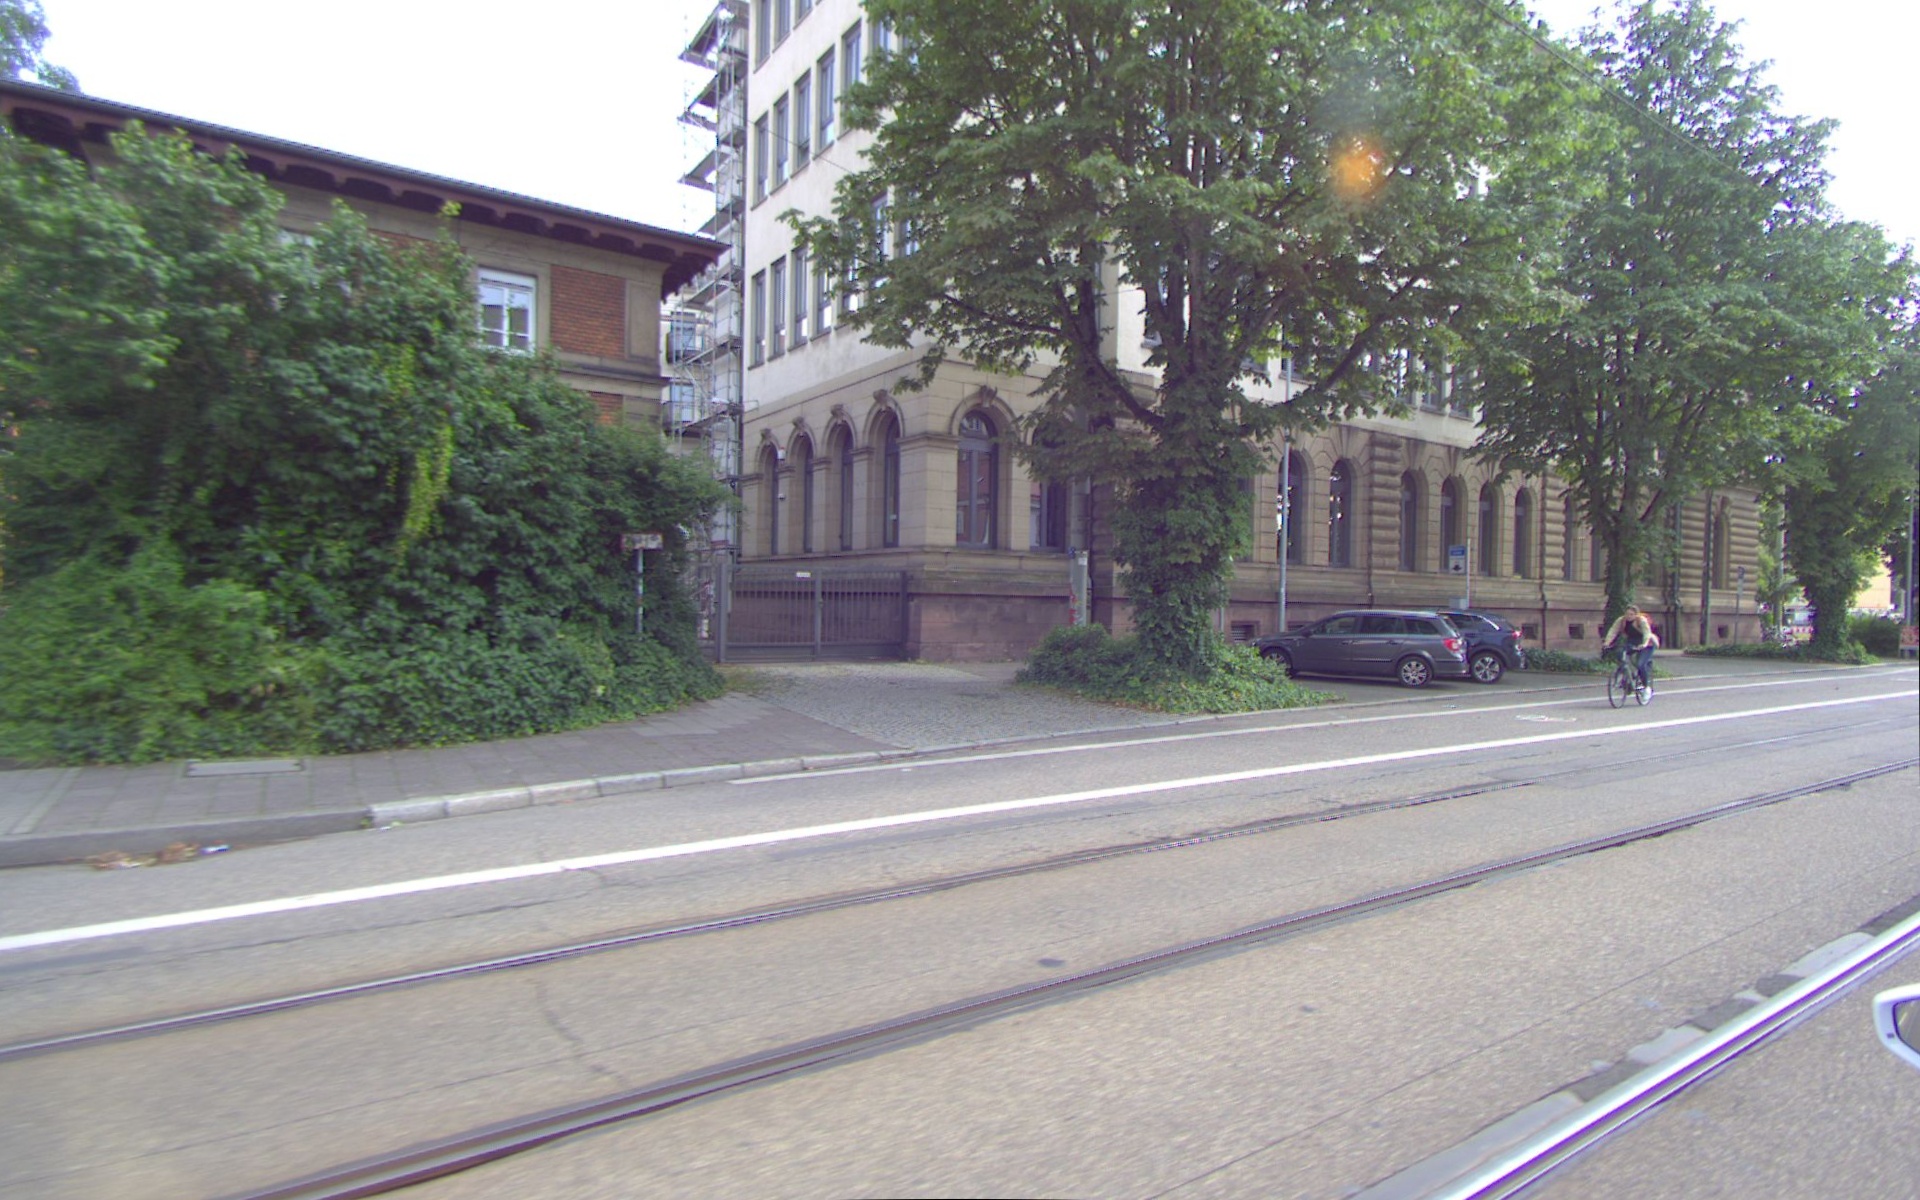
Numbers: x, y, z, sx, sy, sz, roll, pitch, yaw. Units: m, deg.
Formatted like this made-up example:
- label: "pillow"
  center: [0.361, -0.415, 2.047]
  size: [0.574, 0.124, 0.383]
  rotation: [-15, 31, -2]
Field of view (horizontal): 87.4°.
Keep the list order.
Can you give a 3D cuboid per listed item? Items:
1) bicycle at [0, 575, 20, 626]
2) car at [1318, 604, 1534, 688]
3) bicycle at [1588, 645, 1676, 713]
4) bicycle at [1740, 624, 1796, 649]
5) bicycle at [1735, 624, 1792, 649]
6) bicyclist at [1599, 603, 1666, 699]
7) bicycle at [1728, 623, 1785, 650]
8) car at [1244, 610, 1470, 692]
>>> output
- label: "bicycle"
  center: [-29.536, -0.003, 30.817]
  size: [0.750, 1.506, 2.472]
  rotation: [1, 0, -37]
- label: "car"
  center: [10.344, 0.949, 22.528]
  size: [4.161, 1.571, 1.925]
  rotation: [2, 1, 25]
- label: "bicycle"
  center: [11.158, 1.283, 16.662]
  size: [1.803, 1.031, 0.693]
  rotation: [1, -1, -38]
- label: "bicycle"
  center: [41.703, 1.871, 51.841]
  size: [0.723, 1.184, 2.099]
  rotation: [1, 1, -35]
- label: "bicycle"
  center: [41.010, 1.852, 51.282]
  size: [0.723, 1.184, 2.099]
  rotation: [1, 1, -35]
- label: "bicyclist"
  center: [11.141, 0.823, 16.648]
  size: [0.860, 1.539, 0.686]
  rotation: [1, -1, -38]
- label: "bicycle"
  center: [40.078, 1.826, 50.542]
  size: [0.723, 1.184, 2.099]
  rotation: [1, 1, -35]
- label: "car"
  center: [8.228, 0.992, 20.866]
  size: [4.164, 1.466, 1.791]
  rotation: [1, 0, 29]
